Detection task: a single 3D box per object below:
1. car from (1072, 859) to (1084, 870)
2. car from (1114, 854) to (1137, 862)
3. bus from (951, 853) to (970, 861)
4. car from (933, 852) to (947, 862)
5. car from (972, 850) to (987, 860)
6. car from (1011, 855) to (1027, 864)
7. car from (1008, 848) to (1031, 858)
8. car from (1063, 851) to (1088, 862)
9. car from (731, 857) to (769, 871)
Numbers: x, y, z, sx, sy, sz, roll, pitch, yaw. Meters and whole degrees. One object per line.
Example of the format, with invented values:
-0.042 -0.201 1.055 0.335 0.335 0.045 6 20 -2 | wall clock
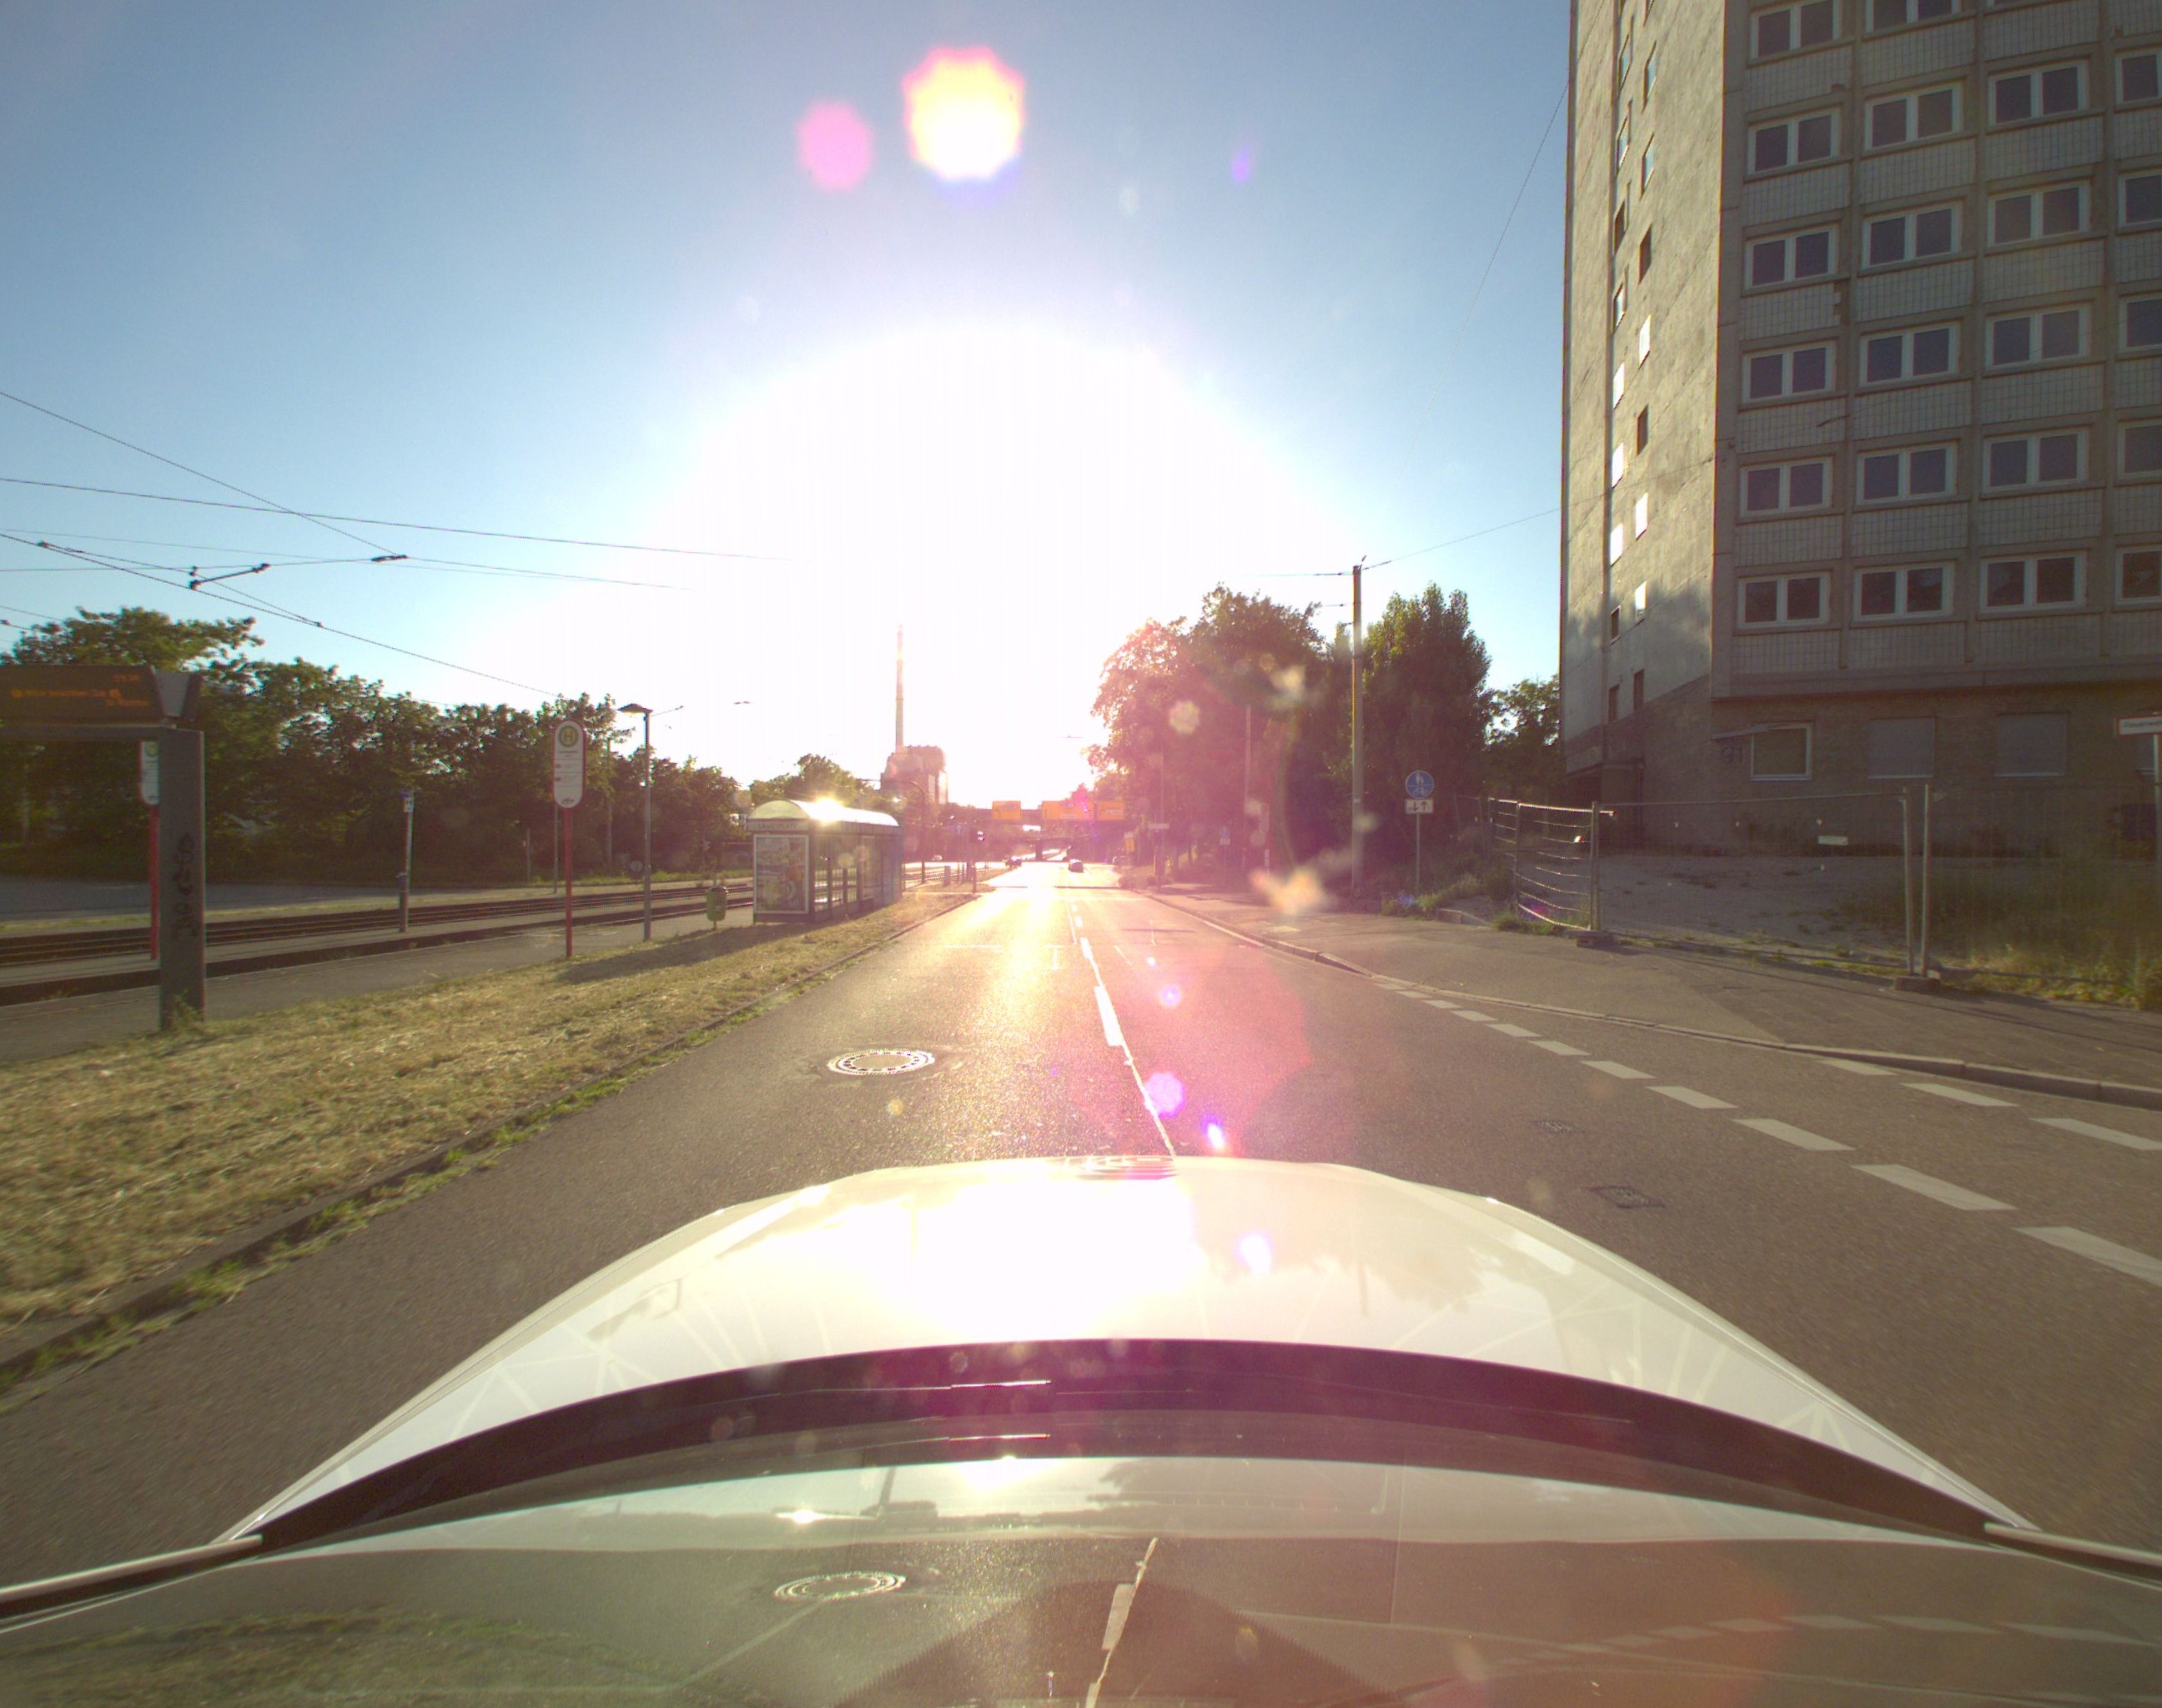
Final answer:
-0.389 1.361 106.865 1.509 1.387 3.365 0 1 2 | car
7.779 0.678 143.276 3.976 1.446 1.773 -1 0 -2 | car
-30.173 0.699 204.792 2.574 2.013 12.301 0 0 2 | bus
-29.452 0.691 170.132 1.986 2.013 4.002 0 0 2 | car
-20.859 0.294 167.304 1.983 2.013 4.871 0 0 6 | car
-9.753 0.874 128.426 2.031 1.446 4.000 -1 0 1 | car
-13.490 -0.227 179.244 4.744 2.013 2.010 1 1 20 | car
-1.124 0.521 169.220 4.808 2.013 2.010 1 1 18 | car
-45.435 1.331 111.783 4.799 1.843 1.983 0 0 -26 | car
